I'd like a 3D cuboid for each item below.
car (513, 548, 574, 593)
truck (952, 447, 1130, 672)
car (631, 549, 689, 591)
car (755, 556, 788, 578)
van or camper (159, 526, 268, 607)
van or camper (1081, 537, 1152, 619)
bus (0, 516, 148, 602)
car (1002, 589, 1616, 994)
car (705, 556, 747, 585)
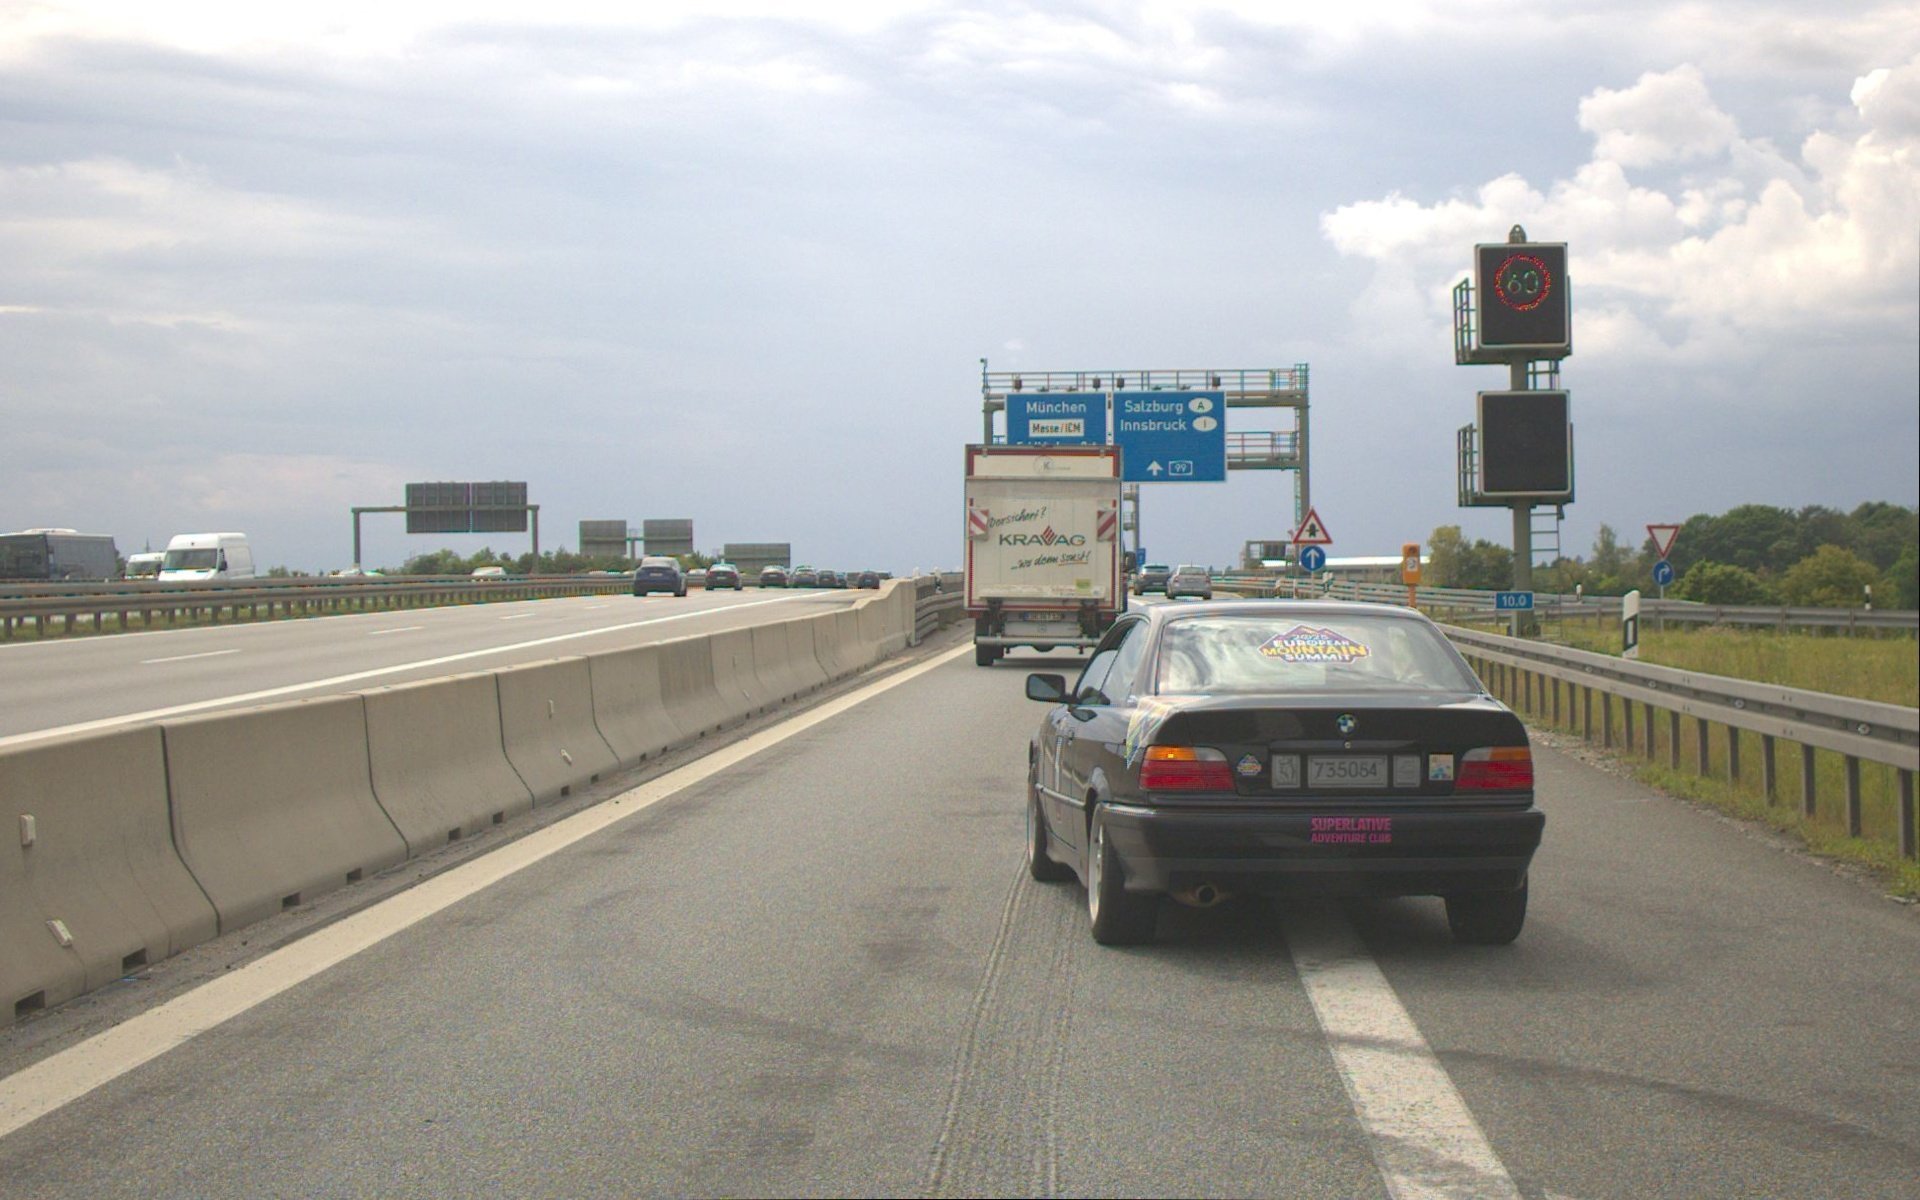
[{"bbox_3d":[-16.142,-1.140,133.448,1.667,1.700,4.000,1,1,3],"label":"car"},{"bbox_3d":[1.218,-0.600,50.819,2.404,3.079,6.370,1,1,2],"label":"truck"},{"bbox_3d":[-12.290,-1.251,140.990,1.993,1.656,4.384,1,1,0],"label":"car"},{"bbox_3d":[-12.404,-2.200,226.429,1.993,1.393,4.000,1,1,-1],"label":"car"},{"bbox_3d":[-25.005,-1.122,115.387,2.187,2.610,6.905,1,1,0],"label":"van or camper"},{"bbox_3d":[4.678,-0.681,103.437,1.999,2.362,6.126,1,1,2],"label":"van or camper"},{"bbox_3d":[-38.024,-1.738,146.809,3.214,3.431,12.992,1,1,1],"label":"bus"},{"bbox_3d":[1.278,0.681,14.335,1.782,1.373,4.138,1,1,-5],"label":"car"},{"bbox_3d":[-12.733,-1.627,187.185,1.993,1.536,4.000,1,1,-1],"label":"car"}]
